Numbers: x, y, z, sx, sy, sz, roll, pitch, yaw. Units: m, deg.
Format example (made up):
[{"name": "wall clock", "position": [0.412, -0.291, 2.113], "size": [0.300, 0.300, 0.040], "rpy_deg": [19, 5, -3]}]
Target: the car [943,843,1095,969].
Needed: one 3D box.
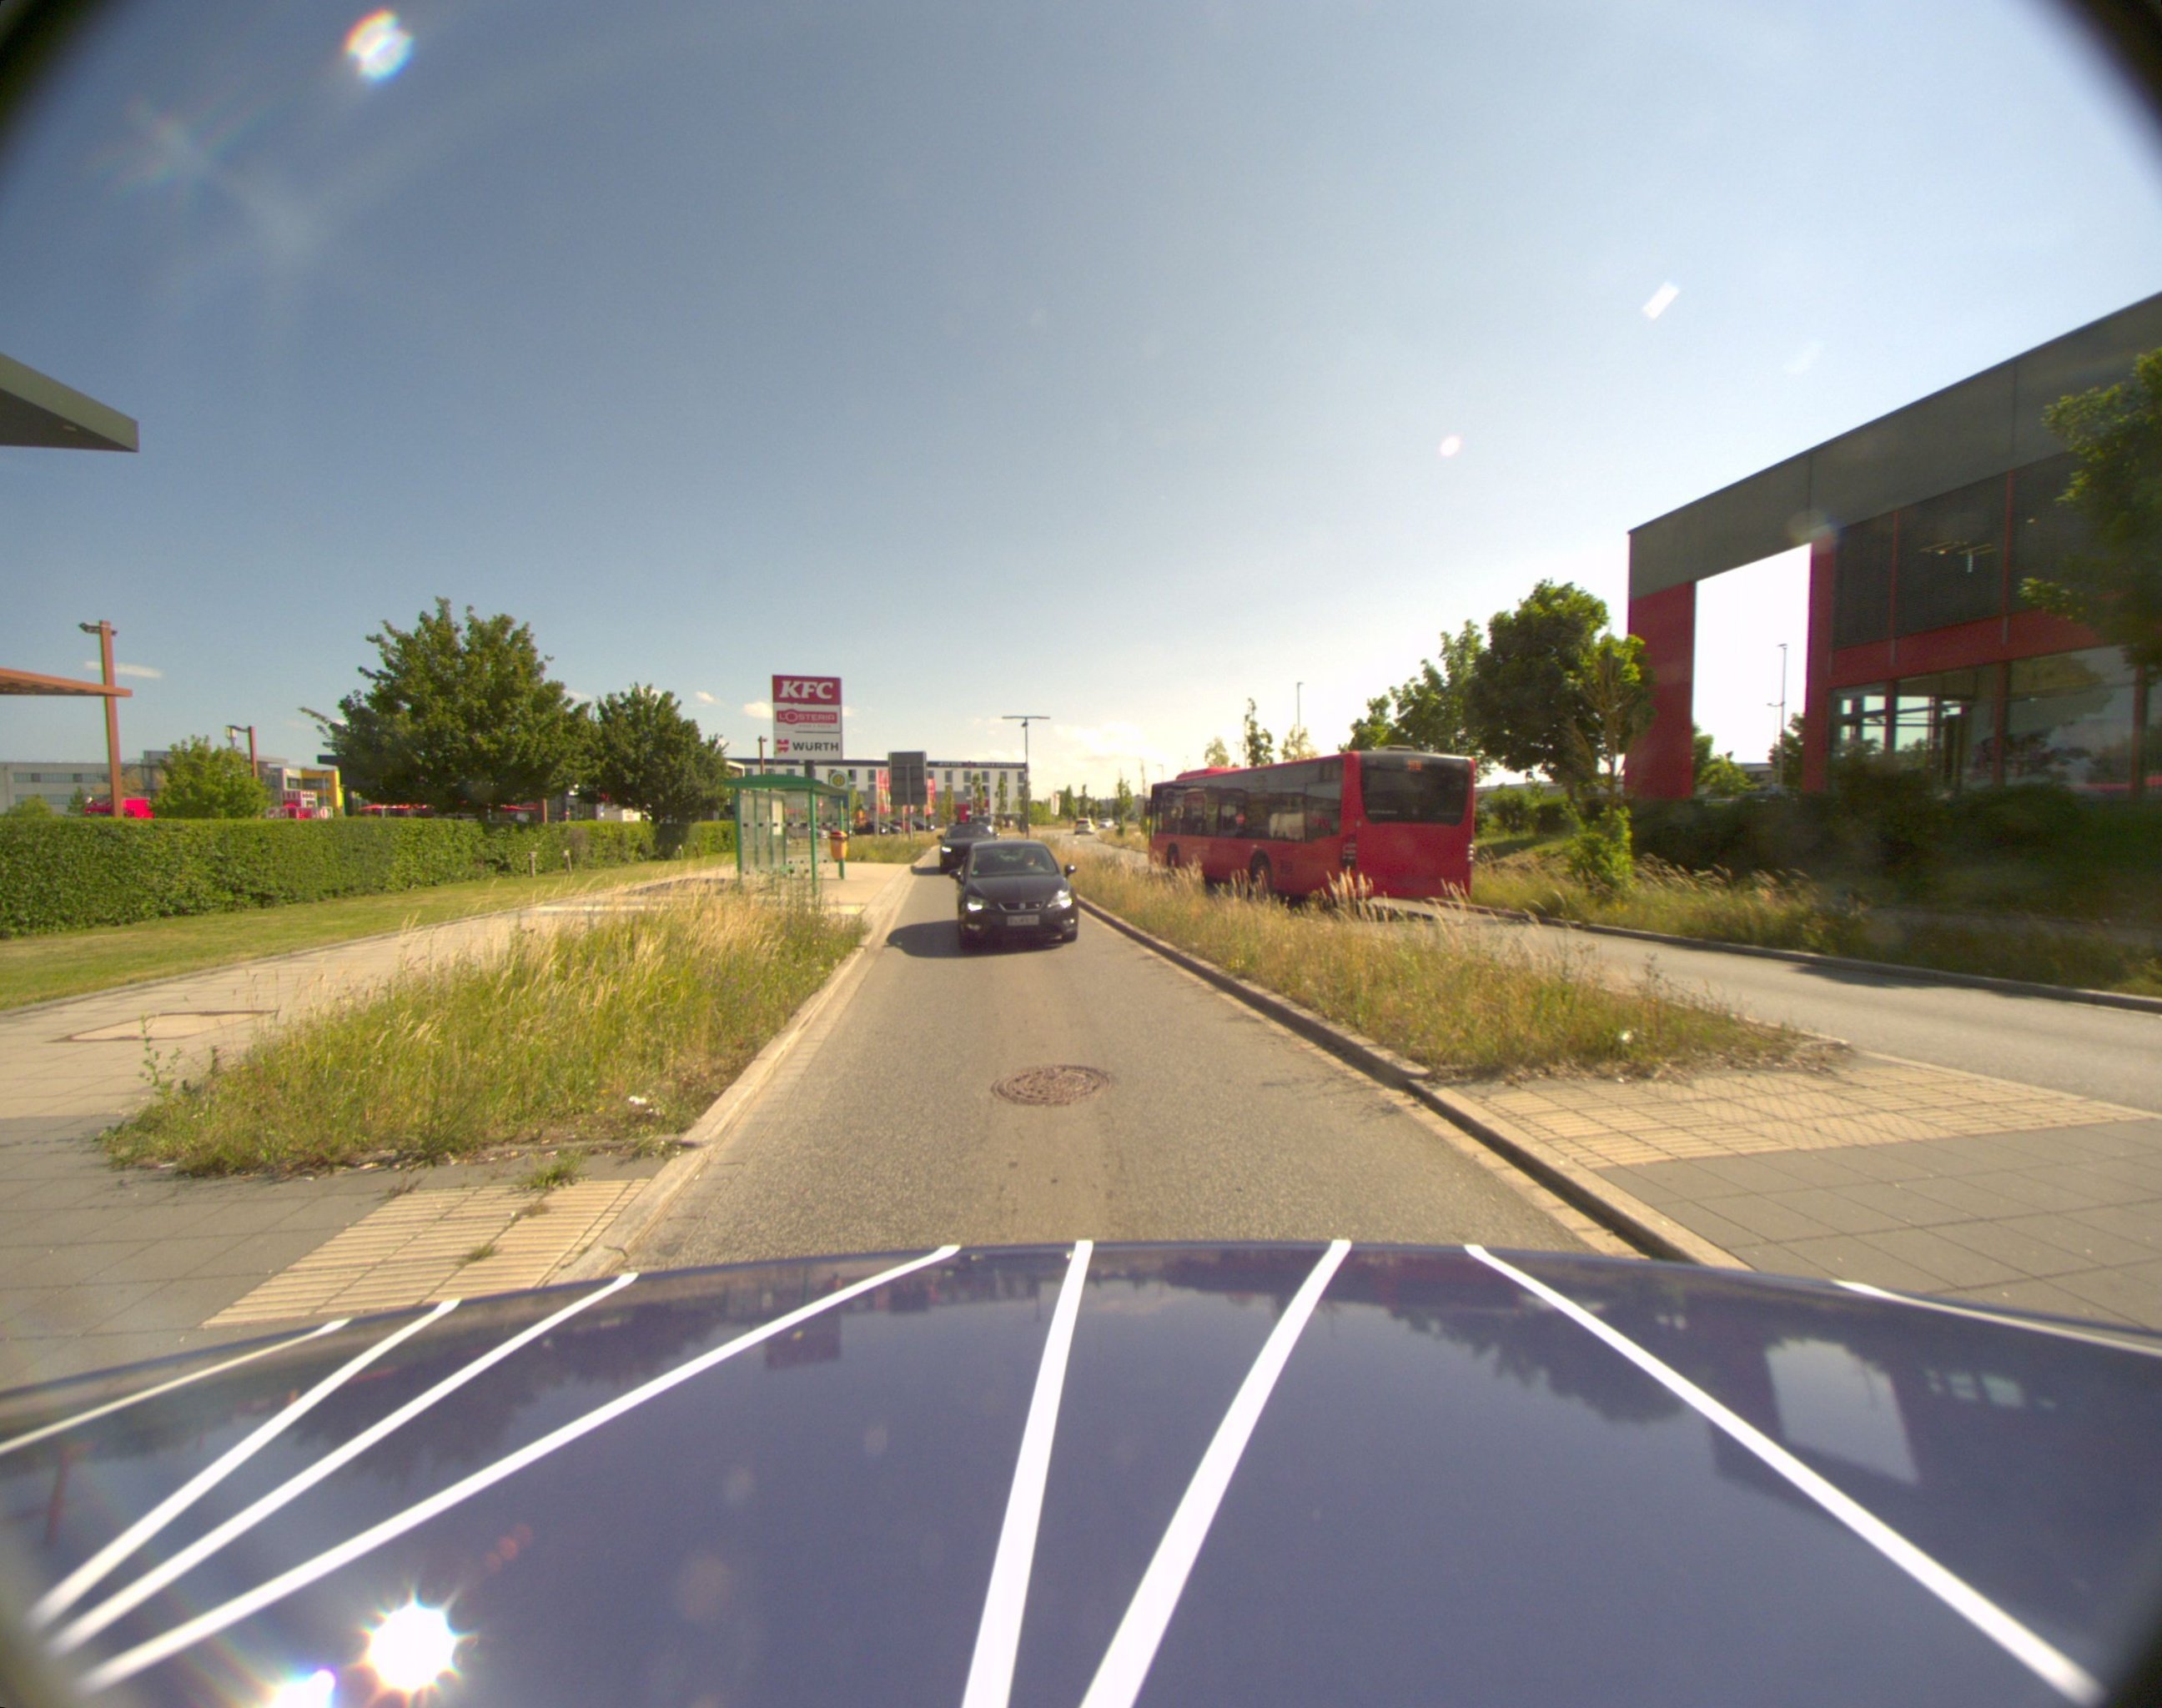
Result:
[{"name": "car", "position": [-1.049, 0.631, 11.752], "size": [1.863, 1.460, 3.996], "rpy_deg": [-3, 2, -8]}]

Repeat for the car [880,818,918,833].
[{"name": "car", "position": [-22.670, -3.565, 94.699], "size": [4.181, 1.752, 1.824], "rpy_deg": [0, 3, 8]}]

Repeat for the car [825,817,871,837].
[{"name": "car", "position": [-24.685, -2.875, 80.506], "size": [4.182, 2.003, 1.933], "rpy_deg": [0, 3, 5]}]

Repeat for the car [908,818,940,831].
[{"name": "car", "position": [-20.903, -3.915, 101.439], "size": [3.821, 1.611, 1.757], "rpy_deg": [0, 3, 4]}]

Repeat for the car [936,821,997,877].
[{"name": "car", "position": [-3.926, -0.243, 26.579], "size": [1.863, 1.679, 3.995], "rpy_deg": [-3, 3, -7]}]

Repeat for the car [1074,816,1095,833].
[{"name": "car", "position": [0.311, -2.980, 77.131], "size": [1.862, 1.705, 4.153], "rpy_deg": [0, 2, -4]}]

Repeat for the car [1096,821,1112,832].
[{"name": "car", "position": [3.413, -4.001, 110.636], "size": [1.997, 1.675, 4.000], "rpy_deg": [0, 2, 7]}]

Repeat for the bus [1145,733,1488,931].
[{"name": "bus", "position": [4.449, -0.642, 18.471], "size": [2.618, 3.224, 11.863], "rpy_deg": [-1, 3, -11]}]

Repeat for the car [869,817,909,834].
[{"name": "car", "position": [-23.190, -3.492, 91.788], "size": [4.183, 2.003, 1.933], "rpy_deg": [0, 3, 3]}]

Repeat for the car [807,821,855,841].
[{"name": "car", "position": [-25.452, -2.366, 77.406], "size": [4.182, 2.003, 1.933], "rpy_deg": [0, 3, 6]}]

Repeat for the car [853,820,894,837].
[{"name": "car", "position": [-23.661, -2.890, 86.686], "size": [4.181, 1.847, 1.803], "rpy_deg": [0, 3, 9]}]

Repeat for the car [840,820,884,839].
[{"name": "car", "position": [-24.252, -2.715, 84.206], "size": [4.182, 2.003, 1.933], "rpy_deg": [0, 3, 5]}]

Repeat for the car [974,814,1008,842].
[{"name": "car", "position": [-6.760, -1.985, 57.590], "size": [2.079, 2.037, 4.680], "rpy_deg": [0, 3, 0]}]

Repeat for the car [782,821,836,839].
[{"name": "car", "position": [-25.972, -2.335, 72.675], "size": [4.441, 1.644, 1.932], "rpy_deg": [-1, 3, -2]}]

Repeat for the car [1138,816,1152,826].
[{"name": "car", "position": [10.756, -5.468, 127.217], "size": [1.998, 1.609, 3.998], "rpy_deg": [-1, 3, 0]}]
